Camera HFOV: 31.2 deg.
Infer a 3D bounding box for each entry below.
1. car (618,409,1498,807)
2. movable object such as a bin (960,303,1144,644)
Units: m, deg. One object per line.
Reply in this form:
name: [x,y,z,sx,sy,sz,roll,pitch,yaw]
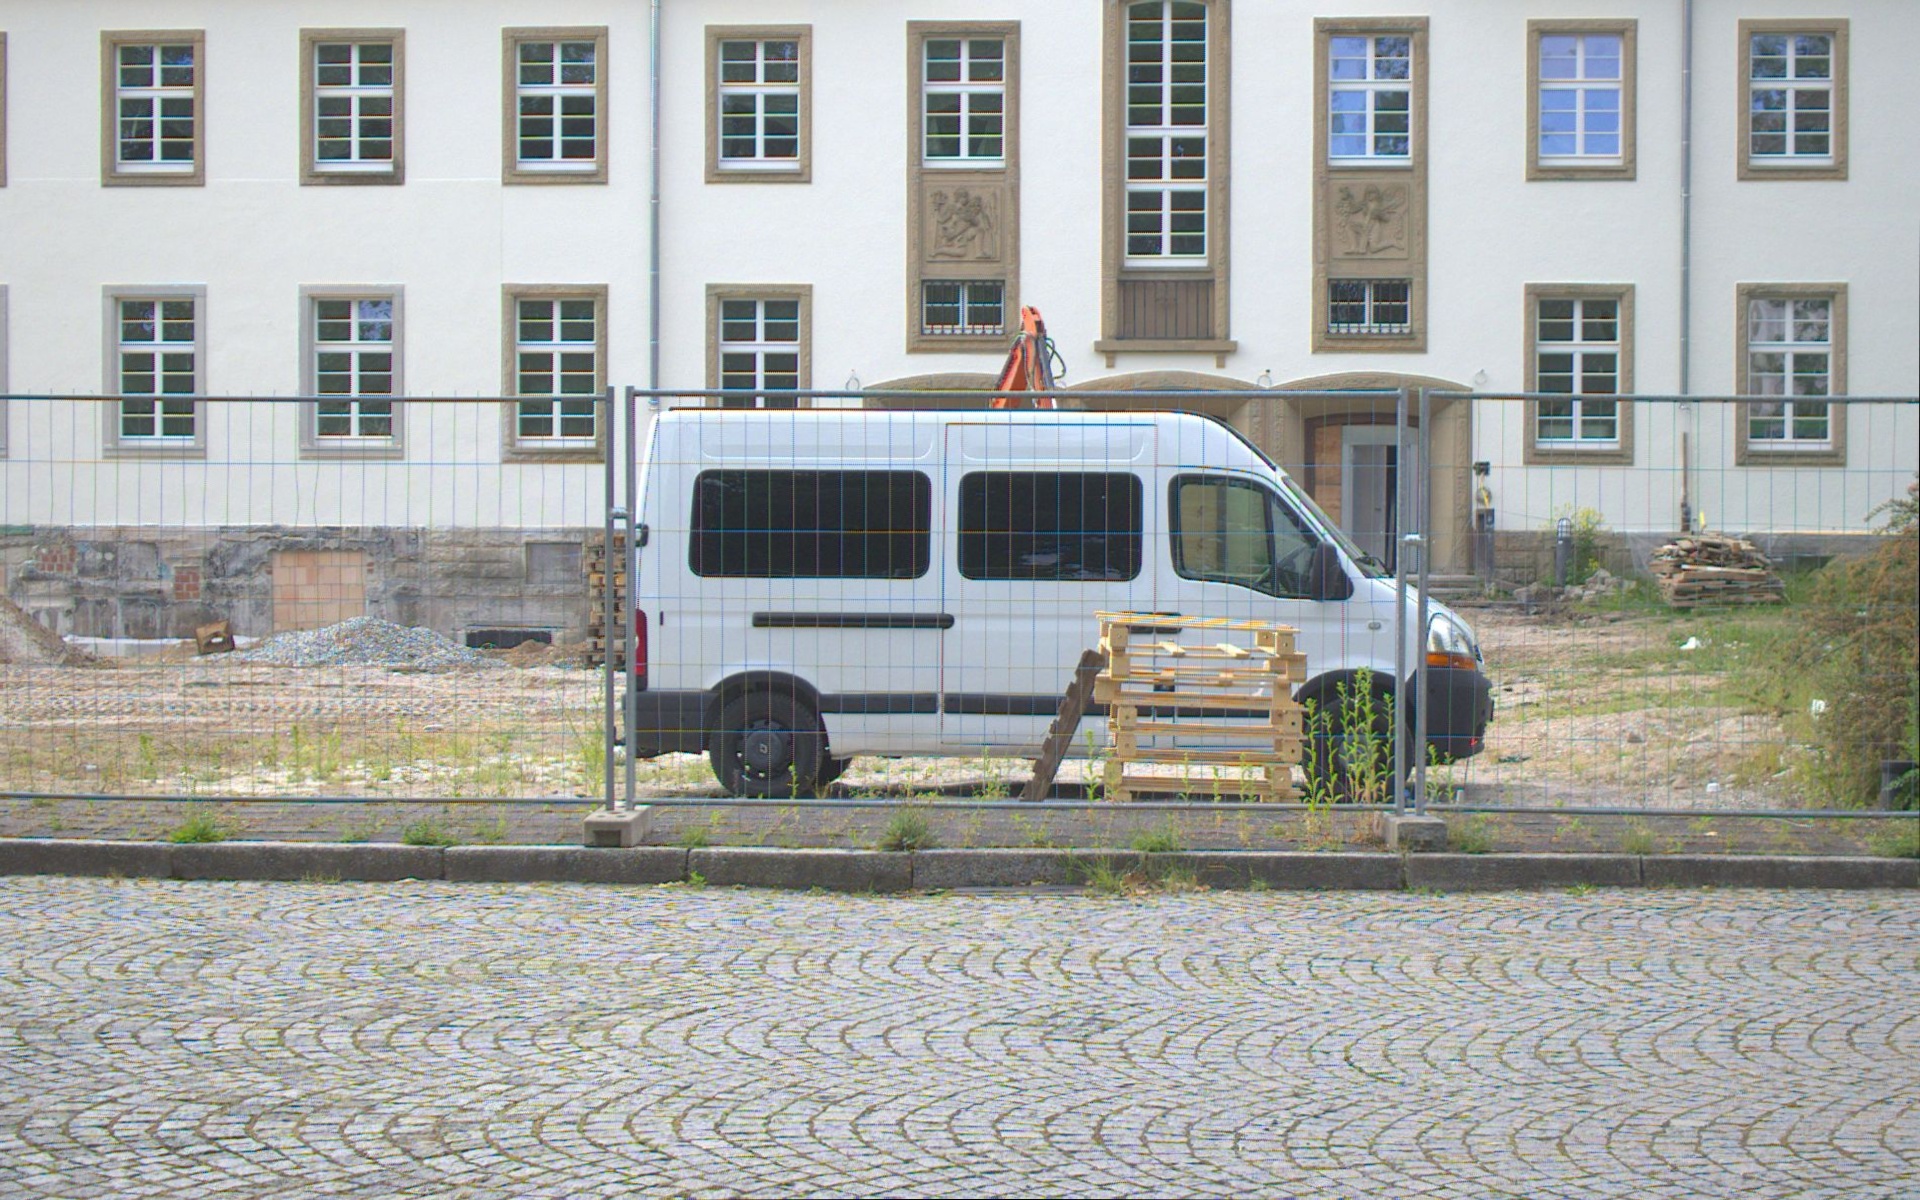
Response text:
car: [0.640,0.014,21.555,5.264,2.336,1.910,1,1,5]
movable object such as a bin: [1.026,-1.468,40.765,1.993,3.758,5.318,1,1,0]
